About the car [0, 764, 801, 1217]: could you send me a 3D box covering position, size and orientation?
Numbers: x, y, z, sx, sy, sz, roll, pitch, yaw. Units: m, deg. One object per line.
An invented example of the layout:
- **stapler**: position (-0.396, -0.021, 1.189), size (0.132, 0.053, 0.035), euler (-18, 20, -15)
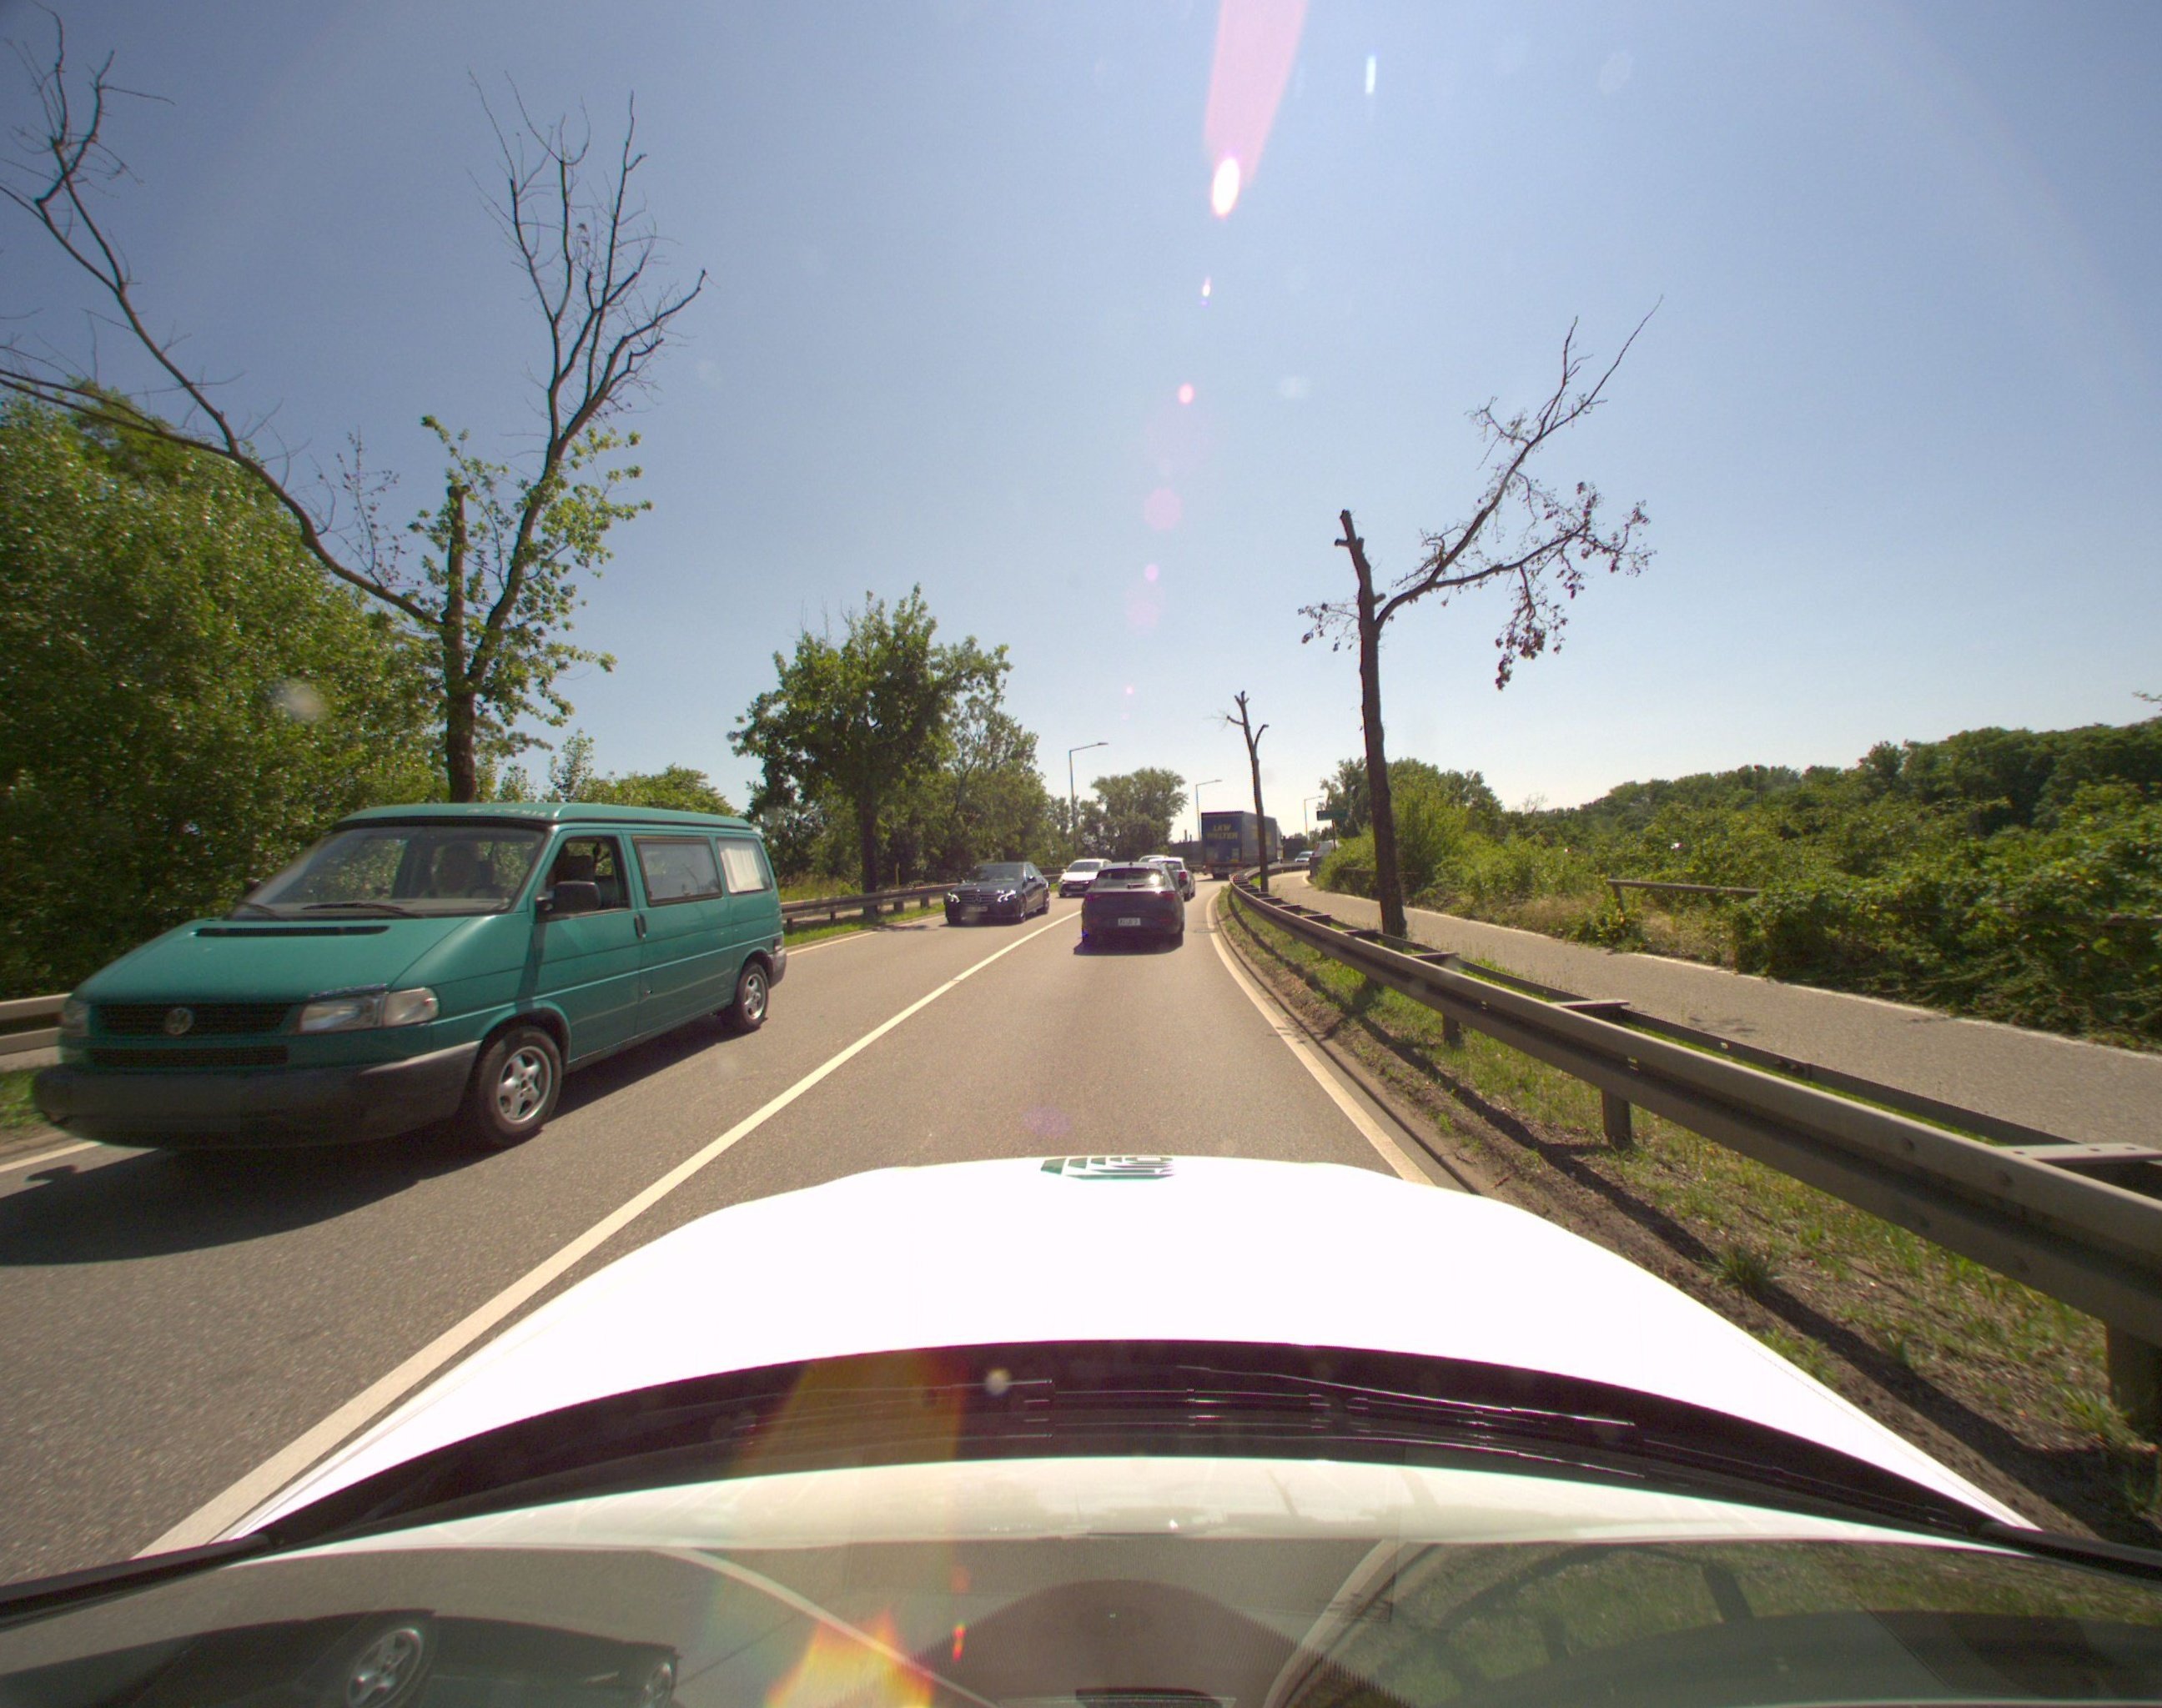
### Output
- **car**: position (-3.877, 0.613, 5.958), size (1.823, 1.938, 4.777), euler (-2, 0, 2)

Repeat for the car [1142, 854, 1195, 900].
- **car**: position (3.070, 0.760, 28.063), size (1.583, 1.461, 3.554), euler (-1, 0, 9)

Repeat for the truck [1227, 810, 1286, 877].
- **truck**: position (13.201, -0.687, 60.781), size (3.143, 4.585, 7.434), euler (-1, -1, 21)

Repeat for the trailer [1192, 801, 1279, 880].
- **trailer**: position (10.555, -0.764, 54.107), size (3.107, 4.614, 13.017), euler (-1, 0, 22)

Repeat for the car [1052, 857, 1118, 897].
- **car**: position (0.245, 0.882, 32.460), size (1.689, 1.447, 4.475), euler (-1, 0, 12)

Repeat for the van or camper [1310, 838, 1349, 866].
- **van or camper**: position (25.397, -0.217, 83.135), size (2.181, 2.711, 5.963), euler (-2, 0, 33)

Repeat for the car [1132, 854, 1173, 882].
- **car**: position (4.323, 0.807, 48.843), size (1.733, 1.546, 4.409), euler (-2, 0, 14)

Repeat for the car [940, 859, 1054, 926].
- **car**: position (-1.997, 0.897, 20.932), size (1.836, 1.467, 4.751), euler (-1, 0, 8)

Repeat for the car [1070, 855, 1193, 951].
- **car**: position (1.057, 0.796, 14.936), size (1.834, 1.499, 3.767), euler (-2, 0, 9)
